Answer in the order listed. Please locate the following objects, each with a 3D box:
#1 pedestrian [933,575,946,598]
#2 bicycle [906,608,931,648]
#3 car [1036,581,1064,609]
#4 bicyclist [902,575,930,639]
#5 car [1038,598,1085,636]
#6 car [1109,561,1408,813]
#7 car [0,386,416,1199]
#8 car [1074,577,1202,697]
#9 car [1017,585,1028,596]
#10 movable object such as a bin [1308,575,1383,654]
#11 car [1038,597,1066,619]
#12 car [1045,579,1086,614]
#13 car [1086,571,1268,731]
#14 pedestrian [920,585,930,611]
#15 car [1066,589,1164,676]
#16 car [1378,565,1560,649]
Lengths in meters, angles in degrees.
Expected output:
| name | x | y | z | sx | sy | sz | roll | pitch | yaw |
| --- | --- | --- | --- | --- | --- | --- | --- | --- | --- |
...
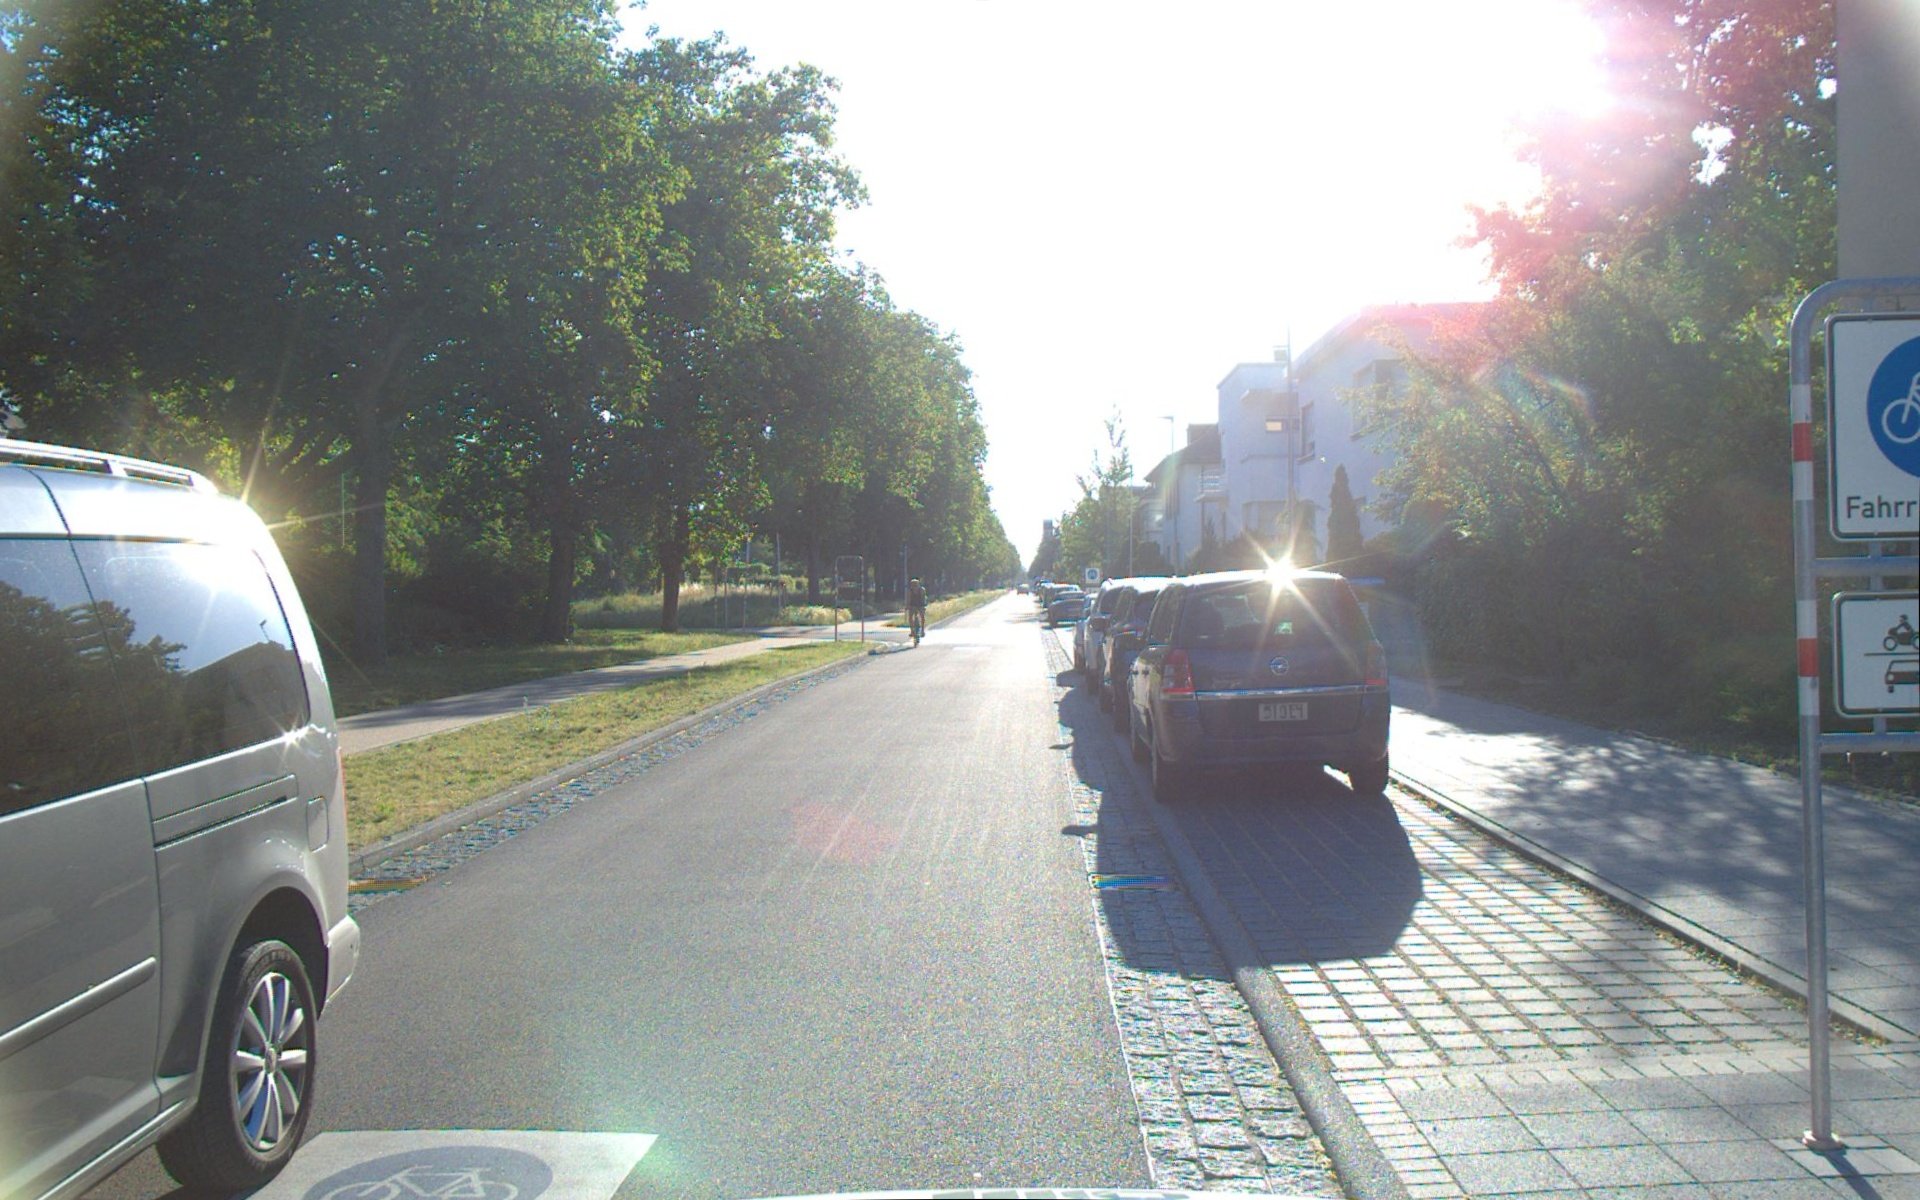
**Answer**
| name | x | y | z | sx | sy | sz | roll | pitch | yaw |
| --- | --- | --- | --- | --- | --- | --- | --- | --- | --- |
| pedestrian | -1.447 | -0.935 | 115.256 | 0.766 | 1.643 | 0.952 | 0 | 0 | 6 |
| bicycle | -1.124 | 0.762 | 45.097 | 0.545 | 1.050 | 1.915 | -1 | 0 | 2 |
| car | 5.355 | -0.306 | 98.778 | 1.594 | 1.531 | 3.635 | -2 | 1 | 3 |
| bicyclist | -1.193 | 0.187 | 45.073 | 0.667 | 1.702 | 1.173 | -2 | -1 | 2 |
| car | 4.079 | 0.676 | 66.897 | 1.738 | 1.310 | 4.274 | -3 | 1 | 3 |
| car | 2.219 | 0.573 | 13.338 | 1.675 | 1.639 | 4.169 | -3 | 1 | 1 |
| car | -2.640 | 0.579 | 2.761 | 1.806 | 1.880 | 4.574 | -2 | 0 | 1 |
| car | 2.559 | 0.485 | 24.501 | 1.643 | 1.583 | 4.132 | -2 | 0 | 3 |
| car | 9.238 | -1.411 | 245.786 | 1.617 | 1.568 | 3.267 | 1 | 0 | 2 |
| movable object such as a bin | 7.202 | 0.260 | 30.962 | 1.211 | 1.457 | 1.124 | 0 | 0 | 4 |
| car | 6.376 | 0.549 | 114.772 | 1.701 | 1.474 | 4.198 | -2 | 0 | 1 |
| car | 4.983 | -0.181 | 78.262 | 1.708 | 1.499 | 3.923 | -3 | 0 | 1 |
| car | 2.387 | 0.511 | 19.099 | 1.644 | 1.583 | 4.145 | -2 | 0 | 2 |
| pedestrian | -2.452 | -0.141 | 115.180 | 0.611 | 1.863 | 0.886 | 0 | 0 | 6 |
| car | 2.744 | 0.531 | 30.003 | 1.531 | 1.414 | 4.376 | -2 | 0 | 3 |
| car | 10.458 | 0.147 | 34.194 | 3.418 | 1.670 | 1.644 | 0 | 0 | 10 |
